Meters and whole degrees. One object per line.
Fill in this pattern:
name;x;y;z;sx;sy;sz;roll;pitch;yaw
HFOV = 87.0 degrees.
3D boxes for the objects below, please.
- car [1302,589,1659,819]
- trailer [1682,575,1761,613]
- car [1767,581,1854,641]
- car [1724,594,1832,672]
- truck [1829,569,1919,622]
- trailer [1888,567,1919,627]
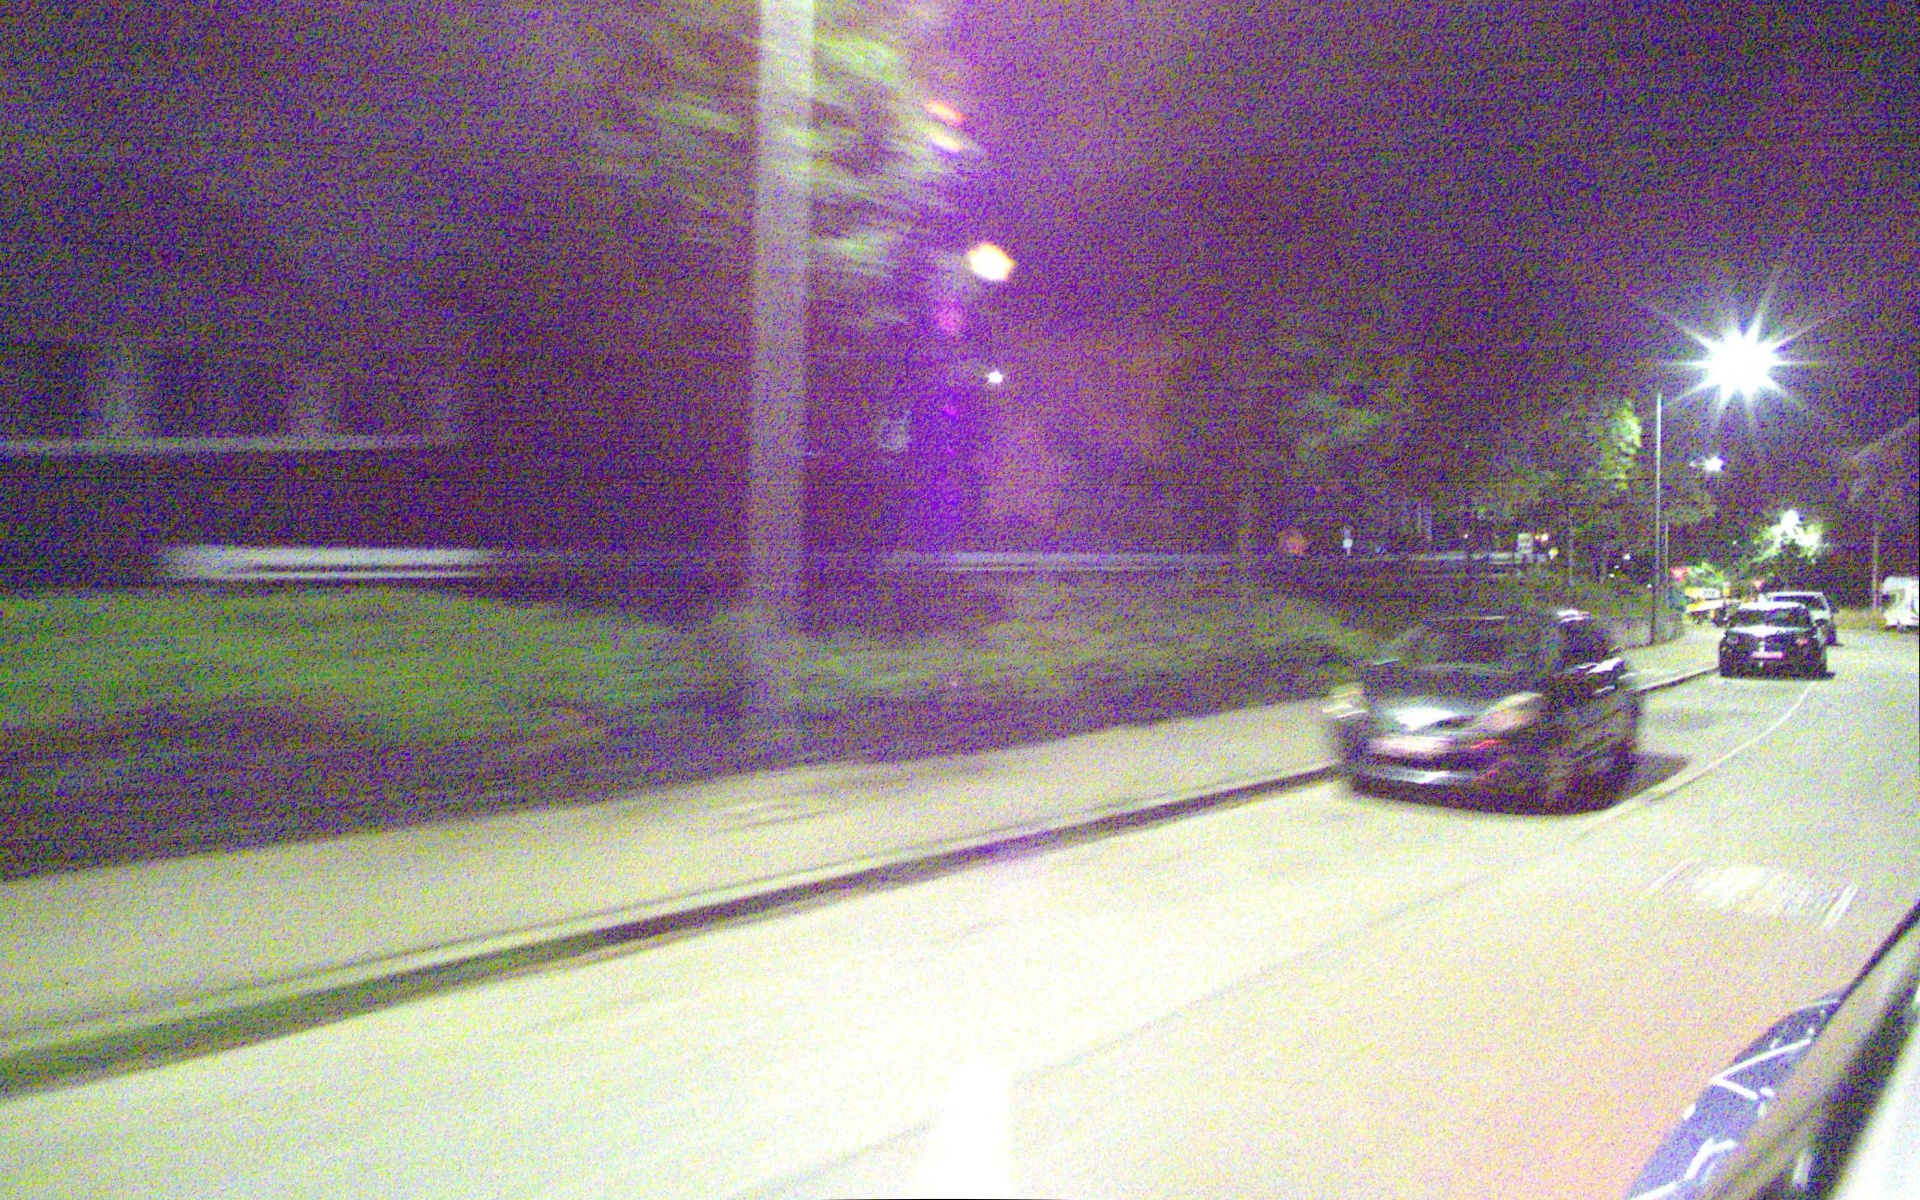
car;4.651;0.687;8.764;1.711;1.527;3.936;0;0;44
trailer;42.913;-0.367;57.198;1.472;2.039;4.970;1;1;11
car;30.866;0.385;36.872;1.988;2.039;5.285;-1;-1;36
car;17.734;0.661;21.875;1.607;1.531;3.767;-2;-1;42
truck;57.909;-0.295;63.449;2.723;3.103;9.258;1;1;25
trailer;52.435;-0.130;54.399;2.473;3.111;7.857;2;1;34
